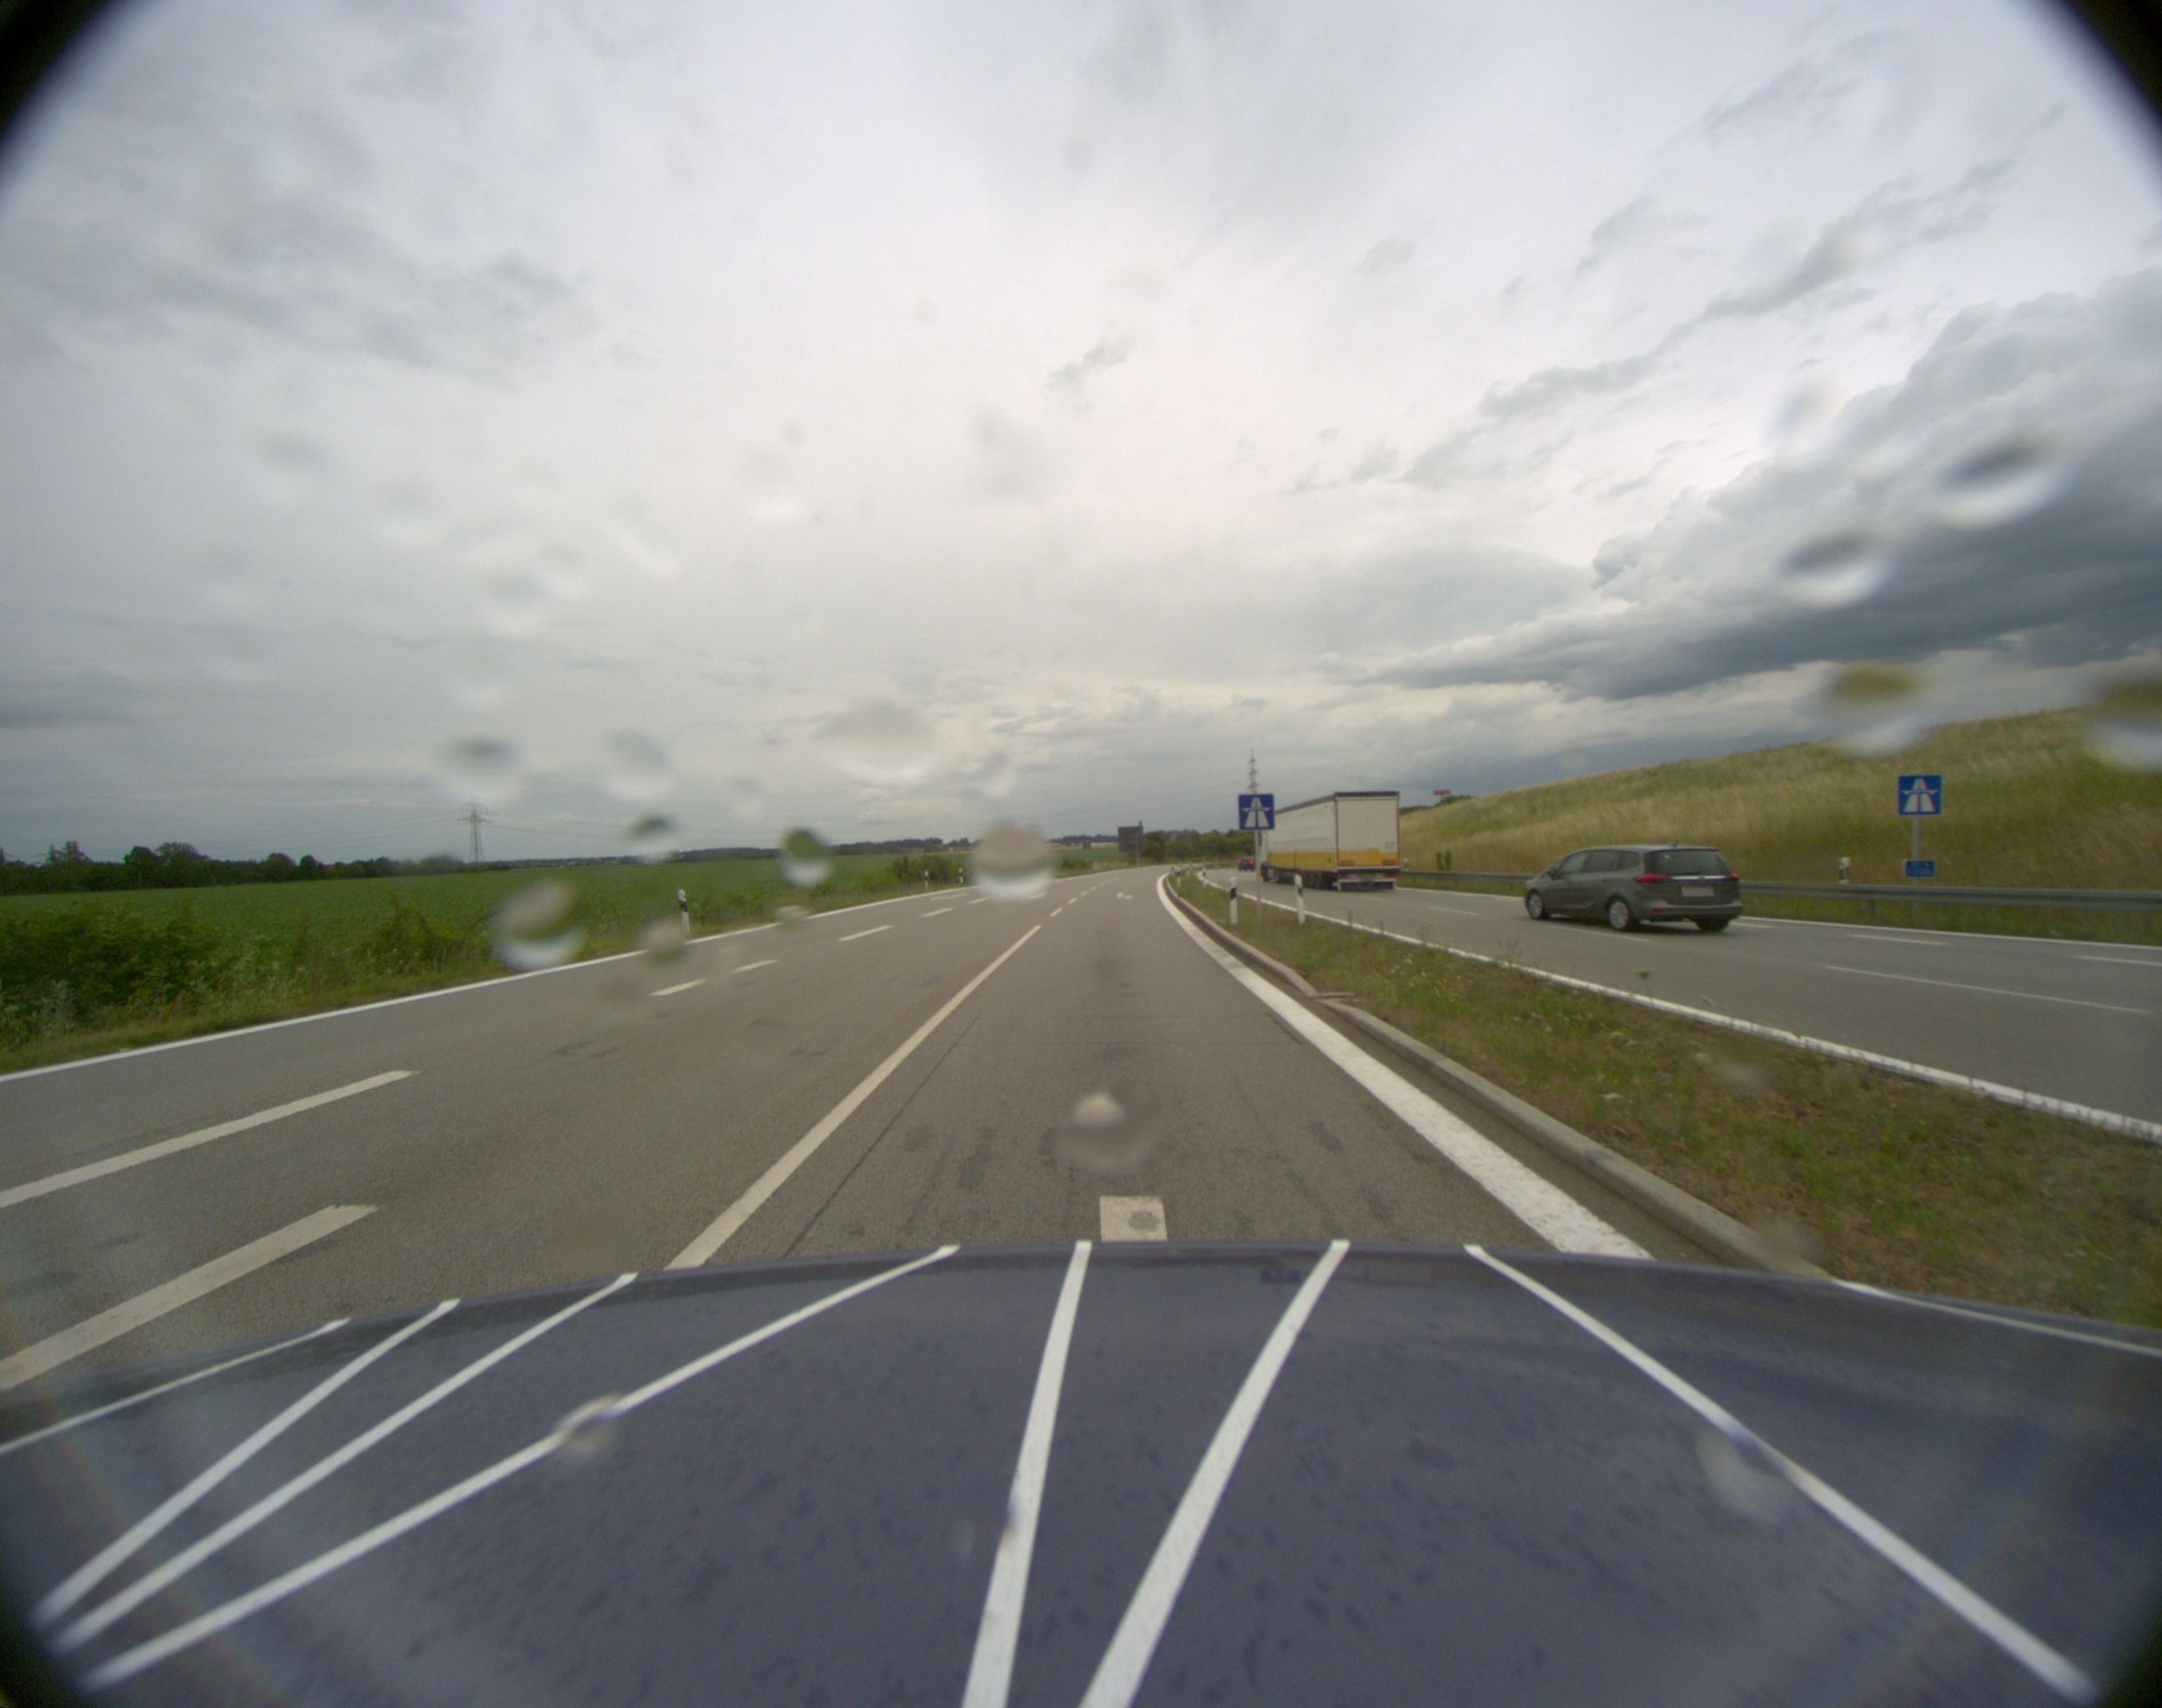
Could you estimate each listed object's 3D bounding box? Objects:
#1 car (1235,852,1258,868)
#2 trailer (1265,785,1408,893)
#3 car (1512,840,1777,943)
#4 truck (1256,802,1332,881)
[{"bbox_3d":[19.283,0.684,88.529,1.998,1.674,4.114,-2,1,4],"label":"car"},{"bbox_3d":[11.841,-0.671,37.094,2.698,4.186,13.841,-2,1,2],"label":"trailer"},{"bbox_3d":[10.890,0.619,15.202,1.998,1.684,4.454,-2,1,1],"label":"car"},{"bbox_3d":[12.126,-0.720,43.835,2.656,4.117,6.403,-2,1,2],"label":"truck"}]
